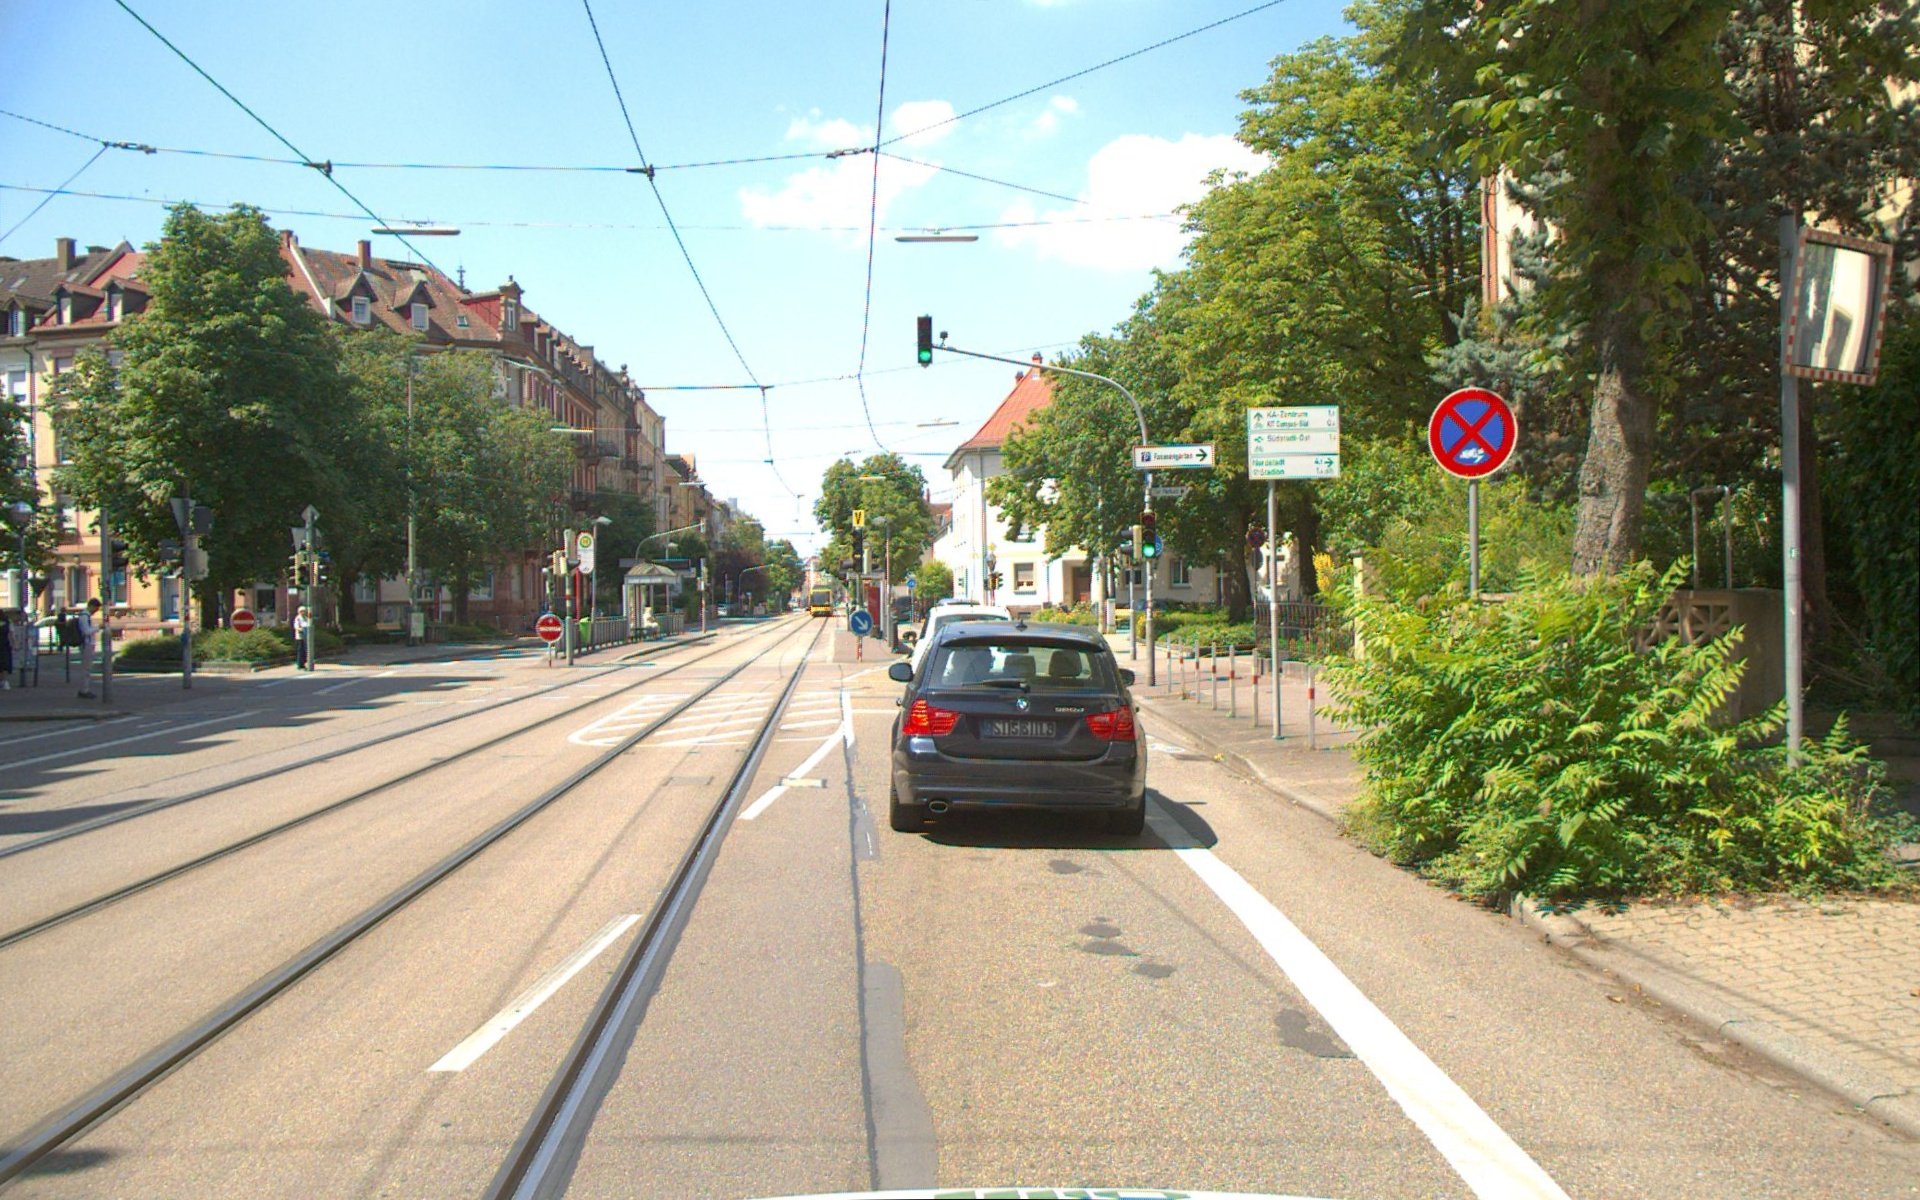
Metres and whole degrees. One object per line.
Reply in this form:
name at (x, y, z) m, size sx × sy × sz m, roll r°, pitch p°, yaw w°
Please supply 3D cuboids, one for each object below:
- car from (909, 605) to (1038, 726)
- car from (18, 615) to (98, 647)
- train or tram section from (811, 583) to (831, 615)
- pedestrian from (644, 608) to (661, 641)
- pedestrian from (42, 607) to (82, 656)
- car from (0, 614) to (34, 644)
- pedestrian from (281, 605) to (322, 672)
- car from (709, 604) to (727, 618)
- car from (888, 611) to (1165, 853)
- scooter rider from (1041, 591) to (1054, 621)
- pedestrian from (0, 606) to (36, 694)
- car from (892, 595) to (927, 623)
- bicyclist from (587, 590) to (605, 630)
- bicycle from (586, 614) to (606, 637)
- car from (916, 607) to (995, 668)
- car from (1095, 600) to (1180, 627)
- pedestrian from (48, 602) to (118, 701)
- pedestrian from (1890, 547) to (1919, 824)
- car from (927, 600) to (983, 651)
car at (0.166, 0.854, 23.297) m, size 1.650 × 1.510 × 3.684 m, roll -1°, pitch 0°, yaw 0°
car at (-44.963, 1.549, 82.481) m, size 3.388 × 1.497 × 1.685 m, roll -1°, pitch 0°, yaw 21°
train or tram section at (-15.728, -0.135, 187.000) m, size 2.147 × 3.543 × 8.836 m, roll -1°, pitch 0°, yaw -5°
pedestrian at (-12.006, 0.956, 64.578) m, size 0.602 × 1.264 × 0.626 m, roll -1°, pitch 0°, yaw -10°
pedestrian at (-35.498, 1.256, 65.376) m, size 0.978 × 1.901 × 1.018 m, roll -1°, pitch 0°, yaw 6°
car at (-48.728, 1.477, 83.471) m, size 3.388 × 1.497 × 1.685 m, roll -1°, pitch 0°, yaw 21°
pedestrian at (-17.714, 1.024, 44.470) m, size 0.830 × 1.753 × 0.908 m, roll -1°, pitch 0°, yaw -35°
car at (-27.546, 1.277, 188.233) m, size 1.756 × 1.614 × 3.987 m, roll 1°, pitch -1°, yaw -13°
car at (0.447, 0.833, 12.542) m, size 1.687 × 1.433 × 4.565 m, roll 1°, pitch 0°, yaw 1°
scooter rider at (4.995, 0.343, 94.286) m, size 0.579 × 1.716 × 0.527 m, roll -1°, pitch 0°, yaw -10°
pedestrian at (-18.463, 0.954, 31.921) m, size 1.009 × 1.664 × 0.857 m, roll -1°, pitch 0°, yaw 45°
car at (-3.538, 0.606, 115.106) m, size 1.956 × 1.881 × 3.993 m, roll -1°, pitch 0°, yaw -8°
bicyclist at (-17.698, 0.485, 80.454) m, size 0.708 × 1.903 × 0.824 m, roll -1°, pitch 0°, yaw -5°
bicycle at (-17.696, 1.239, 80.468) m, size 0.715 × 1.121 × 1.713 m, roll -1°, pitch 0°, yaw -6°
car at (-0.157, 0.858, 39.545) m, size 1.658 × 1.346 × 3.818 m, roll -1°, pitch 0°, yaw -4°
car at (8.821, 0.695, 82.230) m, size 3.913 × 1.265 × 1.620 m, roll -1°, pitch 0°, yaw 31°
pedestrian at (-15.763, 0.914, 29.744) m, size 0.842 × 1.763 × 0.775 m, roll 0°, pitch 0°, yaw -3°
pedestrian at (6.212, 0.506, 9.859) m, size 0.839 × 1.674 × 0.836 m, roll -1°, pitch 0°, yaw 1°
car at (-0.187, 0.777, 52.534) m, size 1.657 × 1.540 × 3.820 m, roll -1°, pitch 0°, yaw -2°
